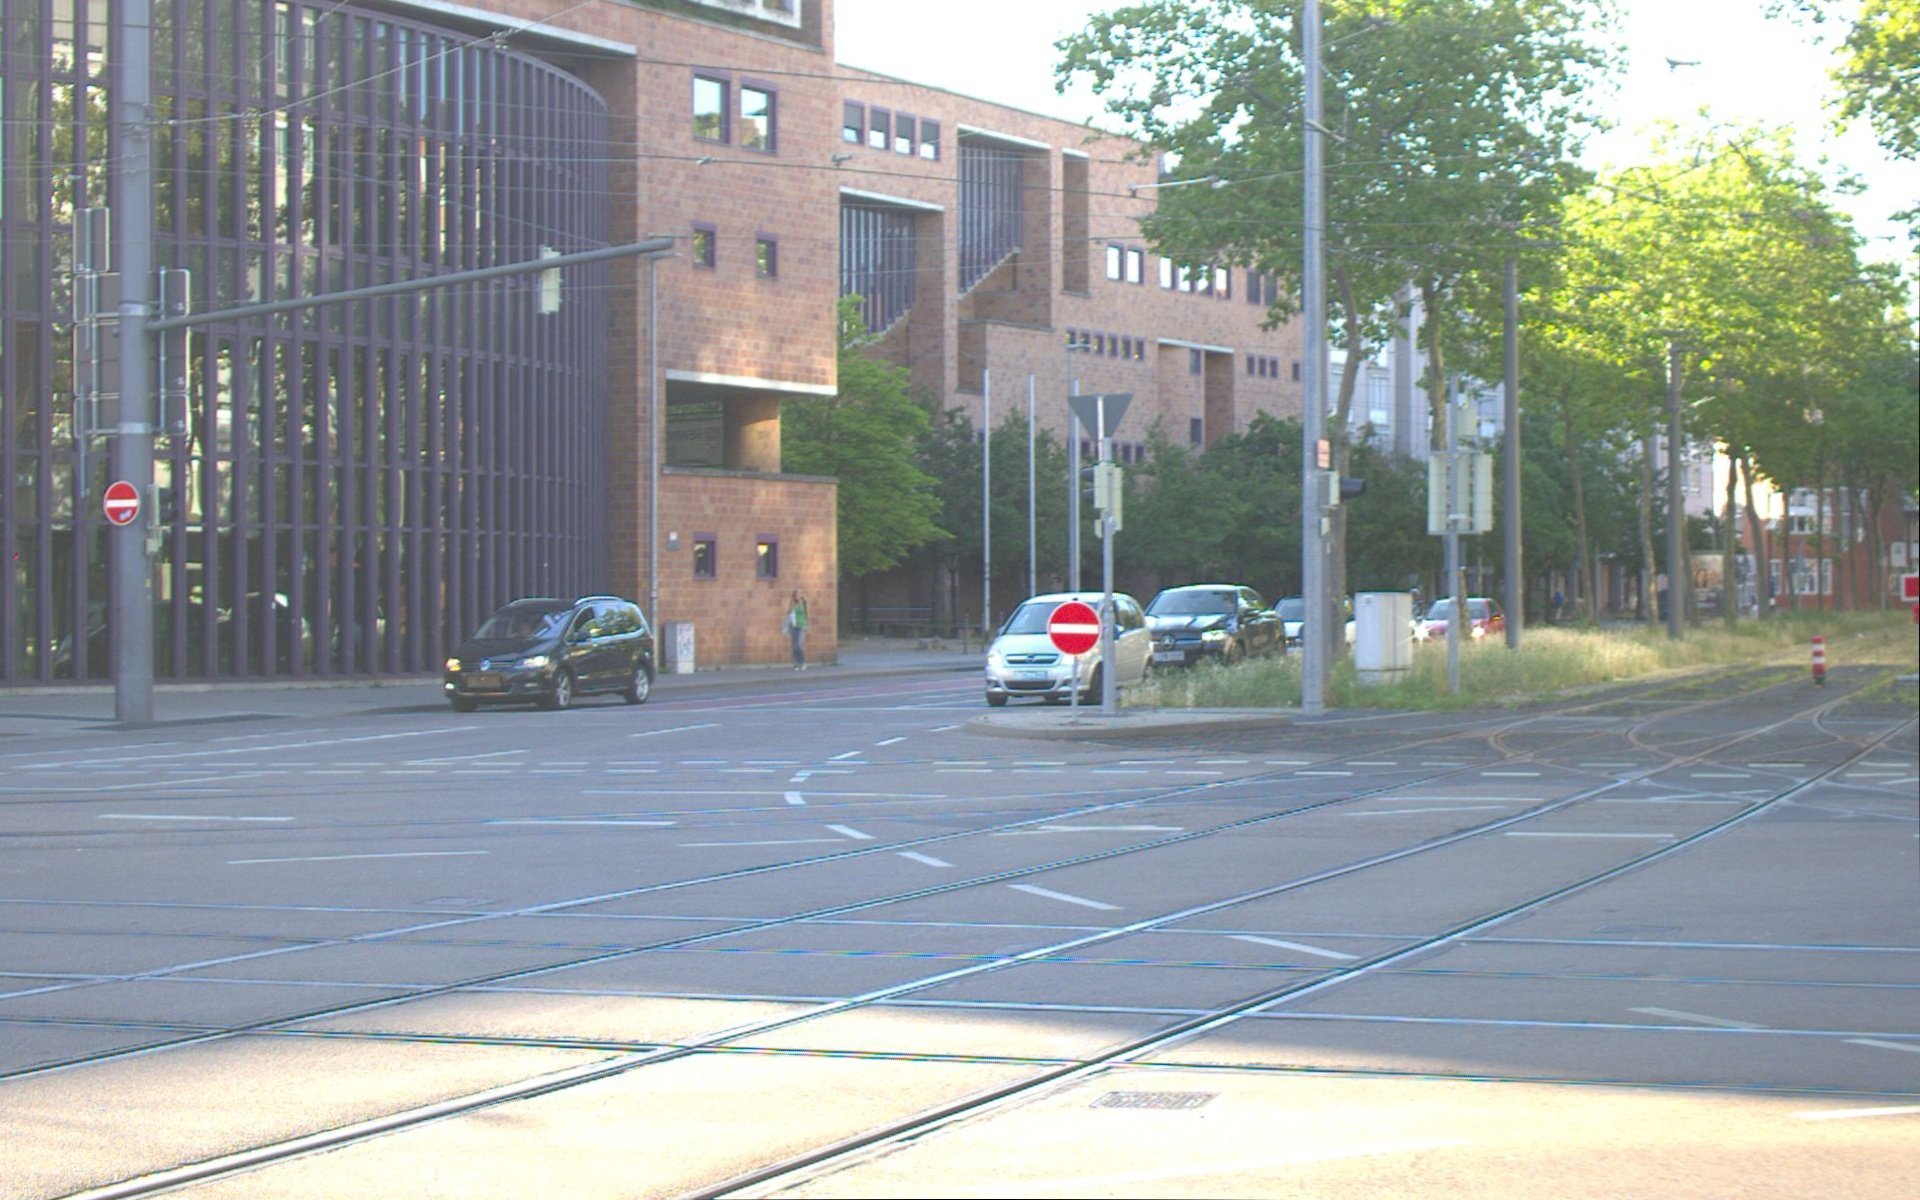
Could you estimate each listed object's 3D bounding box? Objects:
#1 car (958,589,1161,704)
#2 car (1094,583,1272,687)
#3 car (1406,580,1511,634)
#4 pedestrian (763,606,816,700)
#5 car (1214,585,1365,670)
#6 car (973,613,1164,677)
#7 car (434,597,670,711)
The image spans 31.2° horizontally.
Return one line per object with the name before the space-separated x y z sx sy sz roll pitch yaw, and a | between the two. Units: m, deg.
car | 1.509 0.653 50.426 1.732 1.591 4.321 -1 0 19
car | 3.768 0.559 57.339 1.855 1.645 4.321 -1 0 19
car | 11.702 0.161 80.930 1.841 1.218 4.000 -1 0 -1
pedestrian | -3.672 1.131 74.069 0.755 2.007 0.899 0 0 -37
car | 6.299 0.495 65.262 1.855 1.547 4.321 -1 0 19
car | 2.482 1.002 78.088 3.988 1.371 1.921 -1 0 -36
car | -6.286 0.812 53.503 1.835 1.649 4.496 -1 0 19
